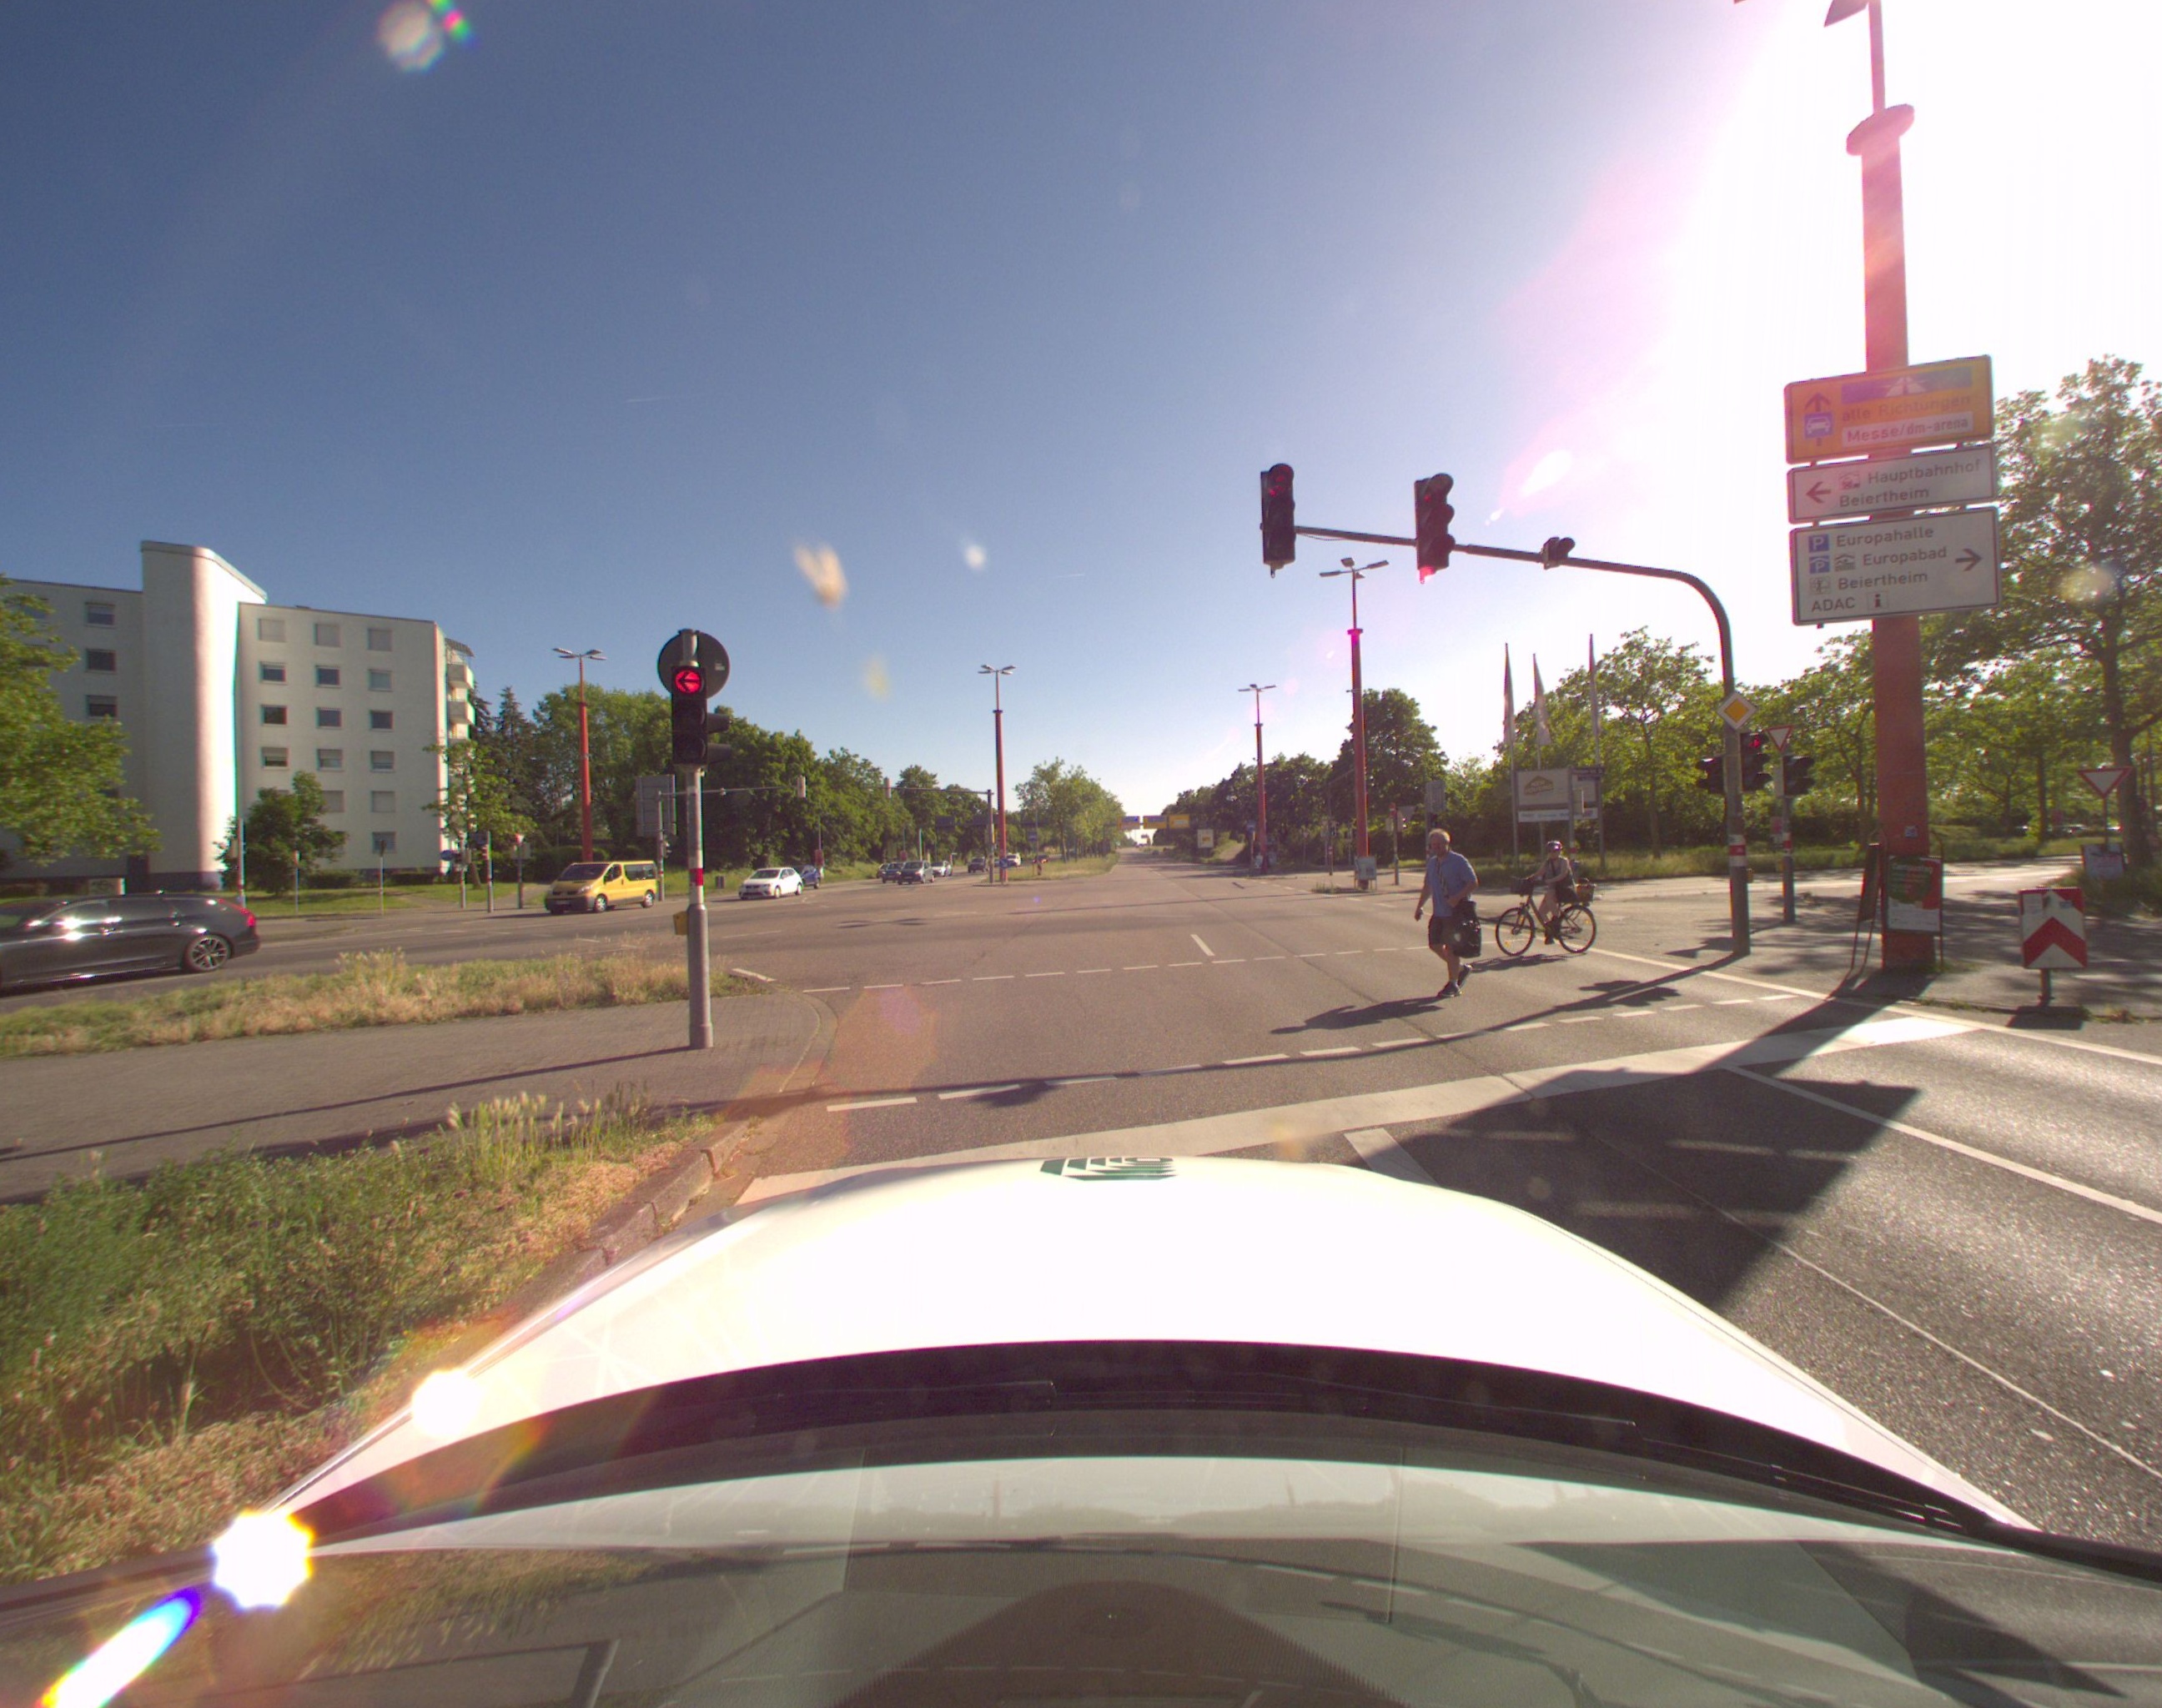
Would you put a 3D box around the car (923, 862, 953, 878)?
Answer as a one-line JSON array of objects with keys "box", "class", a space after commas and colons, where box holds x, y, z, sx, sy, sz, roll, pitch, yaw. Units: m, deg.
[{"box": [-12.855, 1.401, 73.471, 1.997, 1.308, 4.000, -2, 0, 0], "class": "car"}]

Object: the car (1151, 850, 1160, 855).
[{"box": [20.383, -0.379, 223.713, 2.046, 1.371, 4.393, -2, 0, 2], "class": "car"}]

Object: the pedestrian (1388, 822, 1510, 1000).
[{"box": [3.985, 0.573, 8.819, 0.899, 1.788, 0.889, -1, -1, -44], "class": "pedestrian"}]

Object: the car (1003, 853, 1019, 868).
[{"box": [-9.976, 0.901, 116.375, 1.997, 2.014, 4.000, -1, -1, 0], "class": "car"}]

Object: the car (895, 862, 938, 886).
[{"box": [-10.528, 1.258, 52.515, 1.693, 1.421, 4.003, 1, -1, 3], "class": "car"}]

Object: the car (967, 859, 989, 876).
[{"box": [-11.613, 1.495, 92.055, 1.618, 1.739, 4.004, -2, 0, 4], "class": "car"}]

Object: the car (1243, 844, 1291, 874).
[{"box": [12.241, 0.288, 53.497, 1.974, 1.887, 4.025, -2, 0, 29], "class": "car"}]

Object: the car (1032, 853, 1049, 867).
[{"box": [-5.111, 0.785, 102.423, 1.649, 1.747, 4.005, -1, -1, 4], "class": "car"}]

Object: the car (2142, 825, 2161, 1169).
[{"box": [5.549, 0.612, 1.622, 1.662, 1.540, 4.063, -2, 0, 3], "class": "car"}]

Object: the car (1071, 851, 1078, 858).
[{"box": [-1.771, 0.062, 226.745, 1.997, 1.858, 4.000, -1, -1, 0], "class": "car"}]

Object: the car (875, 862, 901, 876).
[{"box": [-19.510, 1.507, 82.469, 1.525, 1.449, 3.707, -1, -1, 2], "class": "car"}]

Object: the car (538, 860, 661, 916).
[{"box": [-18.757, 1.255, 32.014, 1.750, 1.987, 4.793, -1, -1, 3], "class": "car"}]

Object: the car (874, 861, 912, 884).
[{"box": [-13.845, 1.343, 60.153, 1.696, 1.558, 3.807, -1, -1, 4], "class": "car"}]

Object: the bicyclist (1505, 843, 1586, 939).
[{"box": [6.845, 0.527, 12.032, 0.739, 1.341, 0.705, -2, 0, -9], "class": "bicyclist"}]

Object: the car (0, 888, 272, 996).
[{"box": [-15.924, 1.339, 12.682, 1.621, 1.368, 4.801, -2, 0, 4], "class": "car"}]

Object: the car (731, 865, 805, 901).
[{"box": [-14.874, 1.331, 38.913, 1.696, 1.596, 4.004, -1, -1, 4], "class": "car"}]

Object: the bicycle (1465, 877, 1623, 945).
[{"box": [6.782, 0.818, 11.944, 2.163, 0.878, 0.557, -2, -1, -12], "class": "bicycle"}]
